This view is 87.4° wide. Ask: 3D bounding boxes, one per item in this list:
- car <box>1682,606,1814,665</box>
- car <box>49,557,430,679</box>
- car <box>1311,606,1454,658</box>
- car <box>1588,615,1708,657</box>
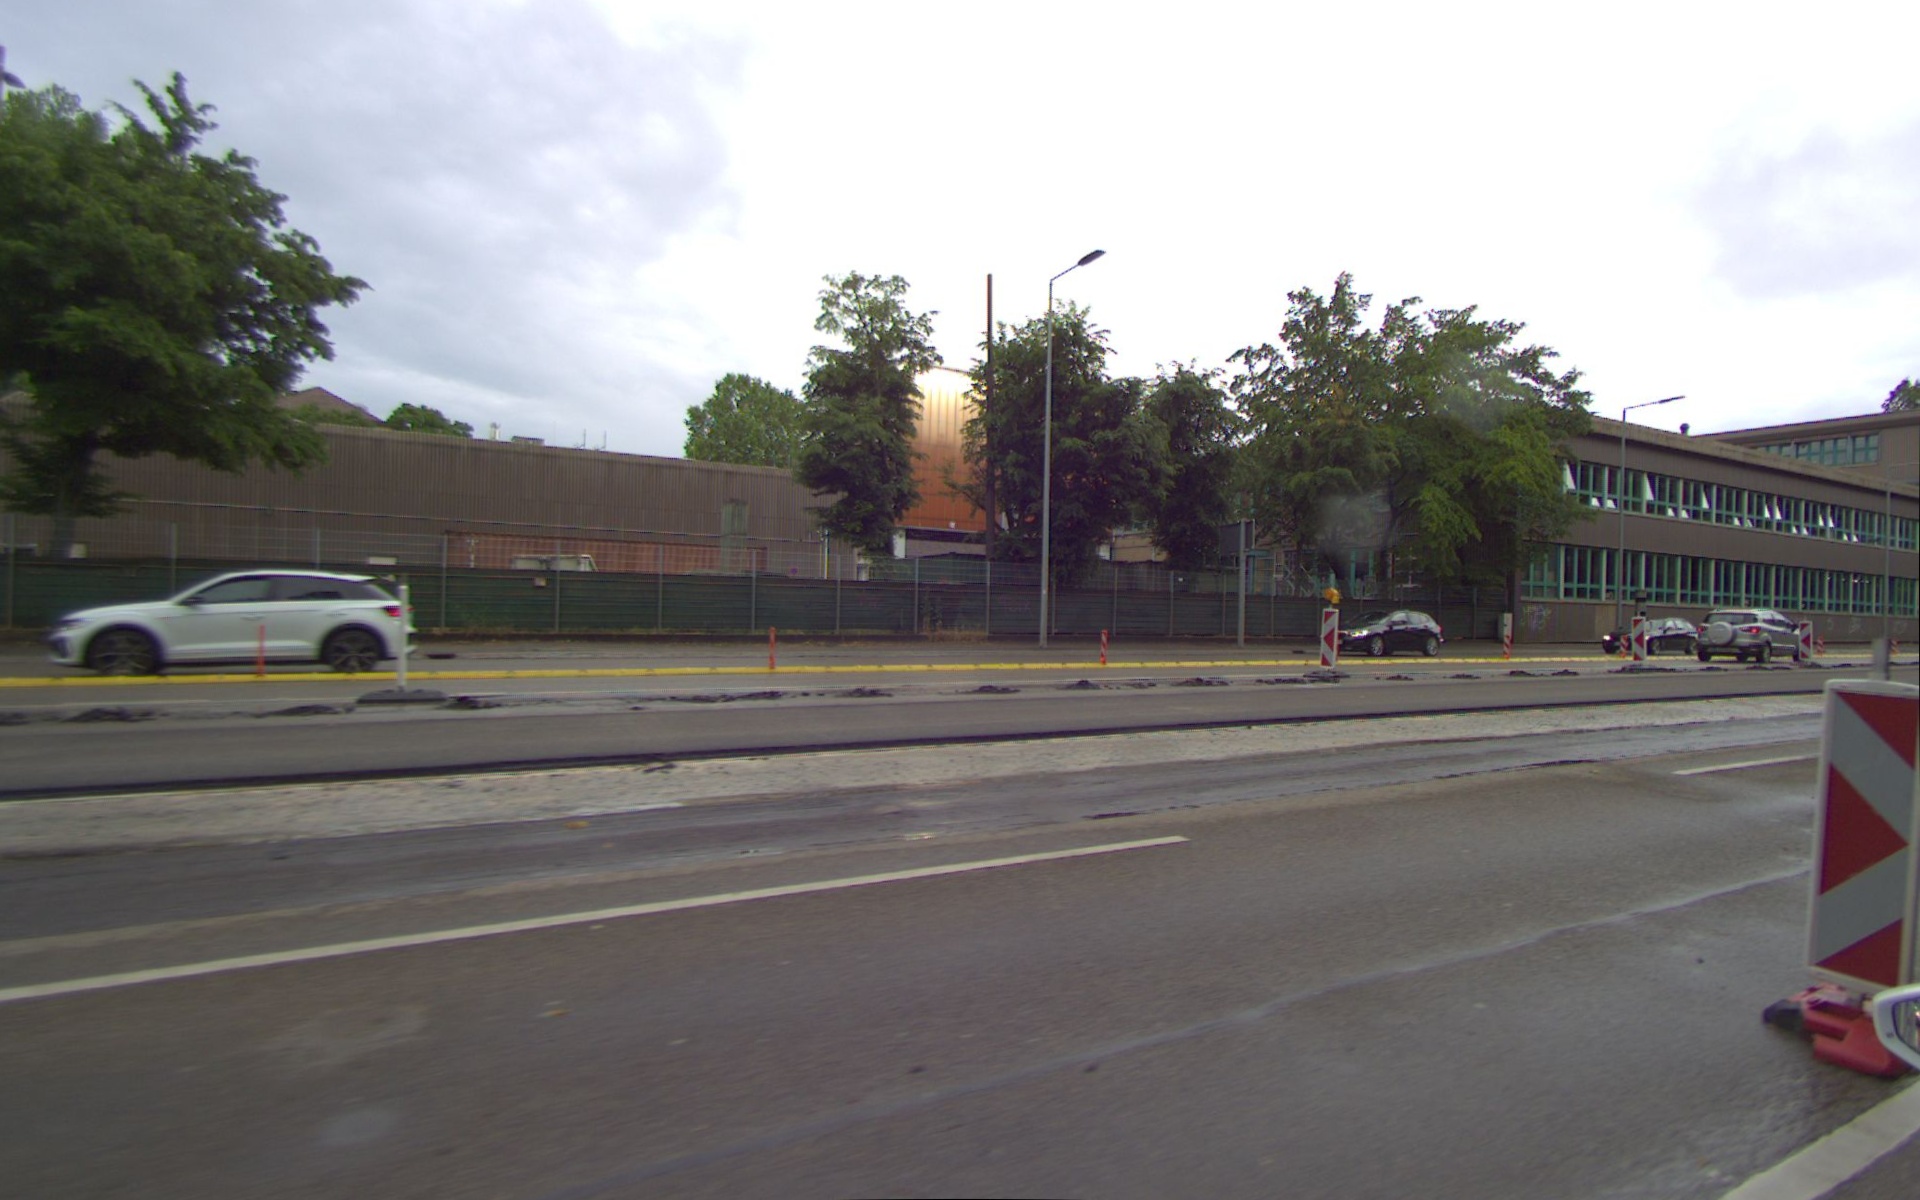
[{"bbox_3d":[24.316,1.092,30.976,3.953,1.670,1.845,2,1,-30],"label":"car"},{"bbox_3d":[-10.097,0.251,14.545,4.216,1.533,1.984,1,1,-30],"label":"car"},{"bbox_3d":[13.101,0.974,31.090,4.217,1.448,1.983,1,1,-31],"label":"car"},{"bbox_3d":[27.154,1.424,39.614,4.709,1.474,2.036,2,1,-30],"label":"car"}]
